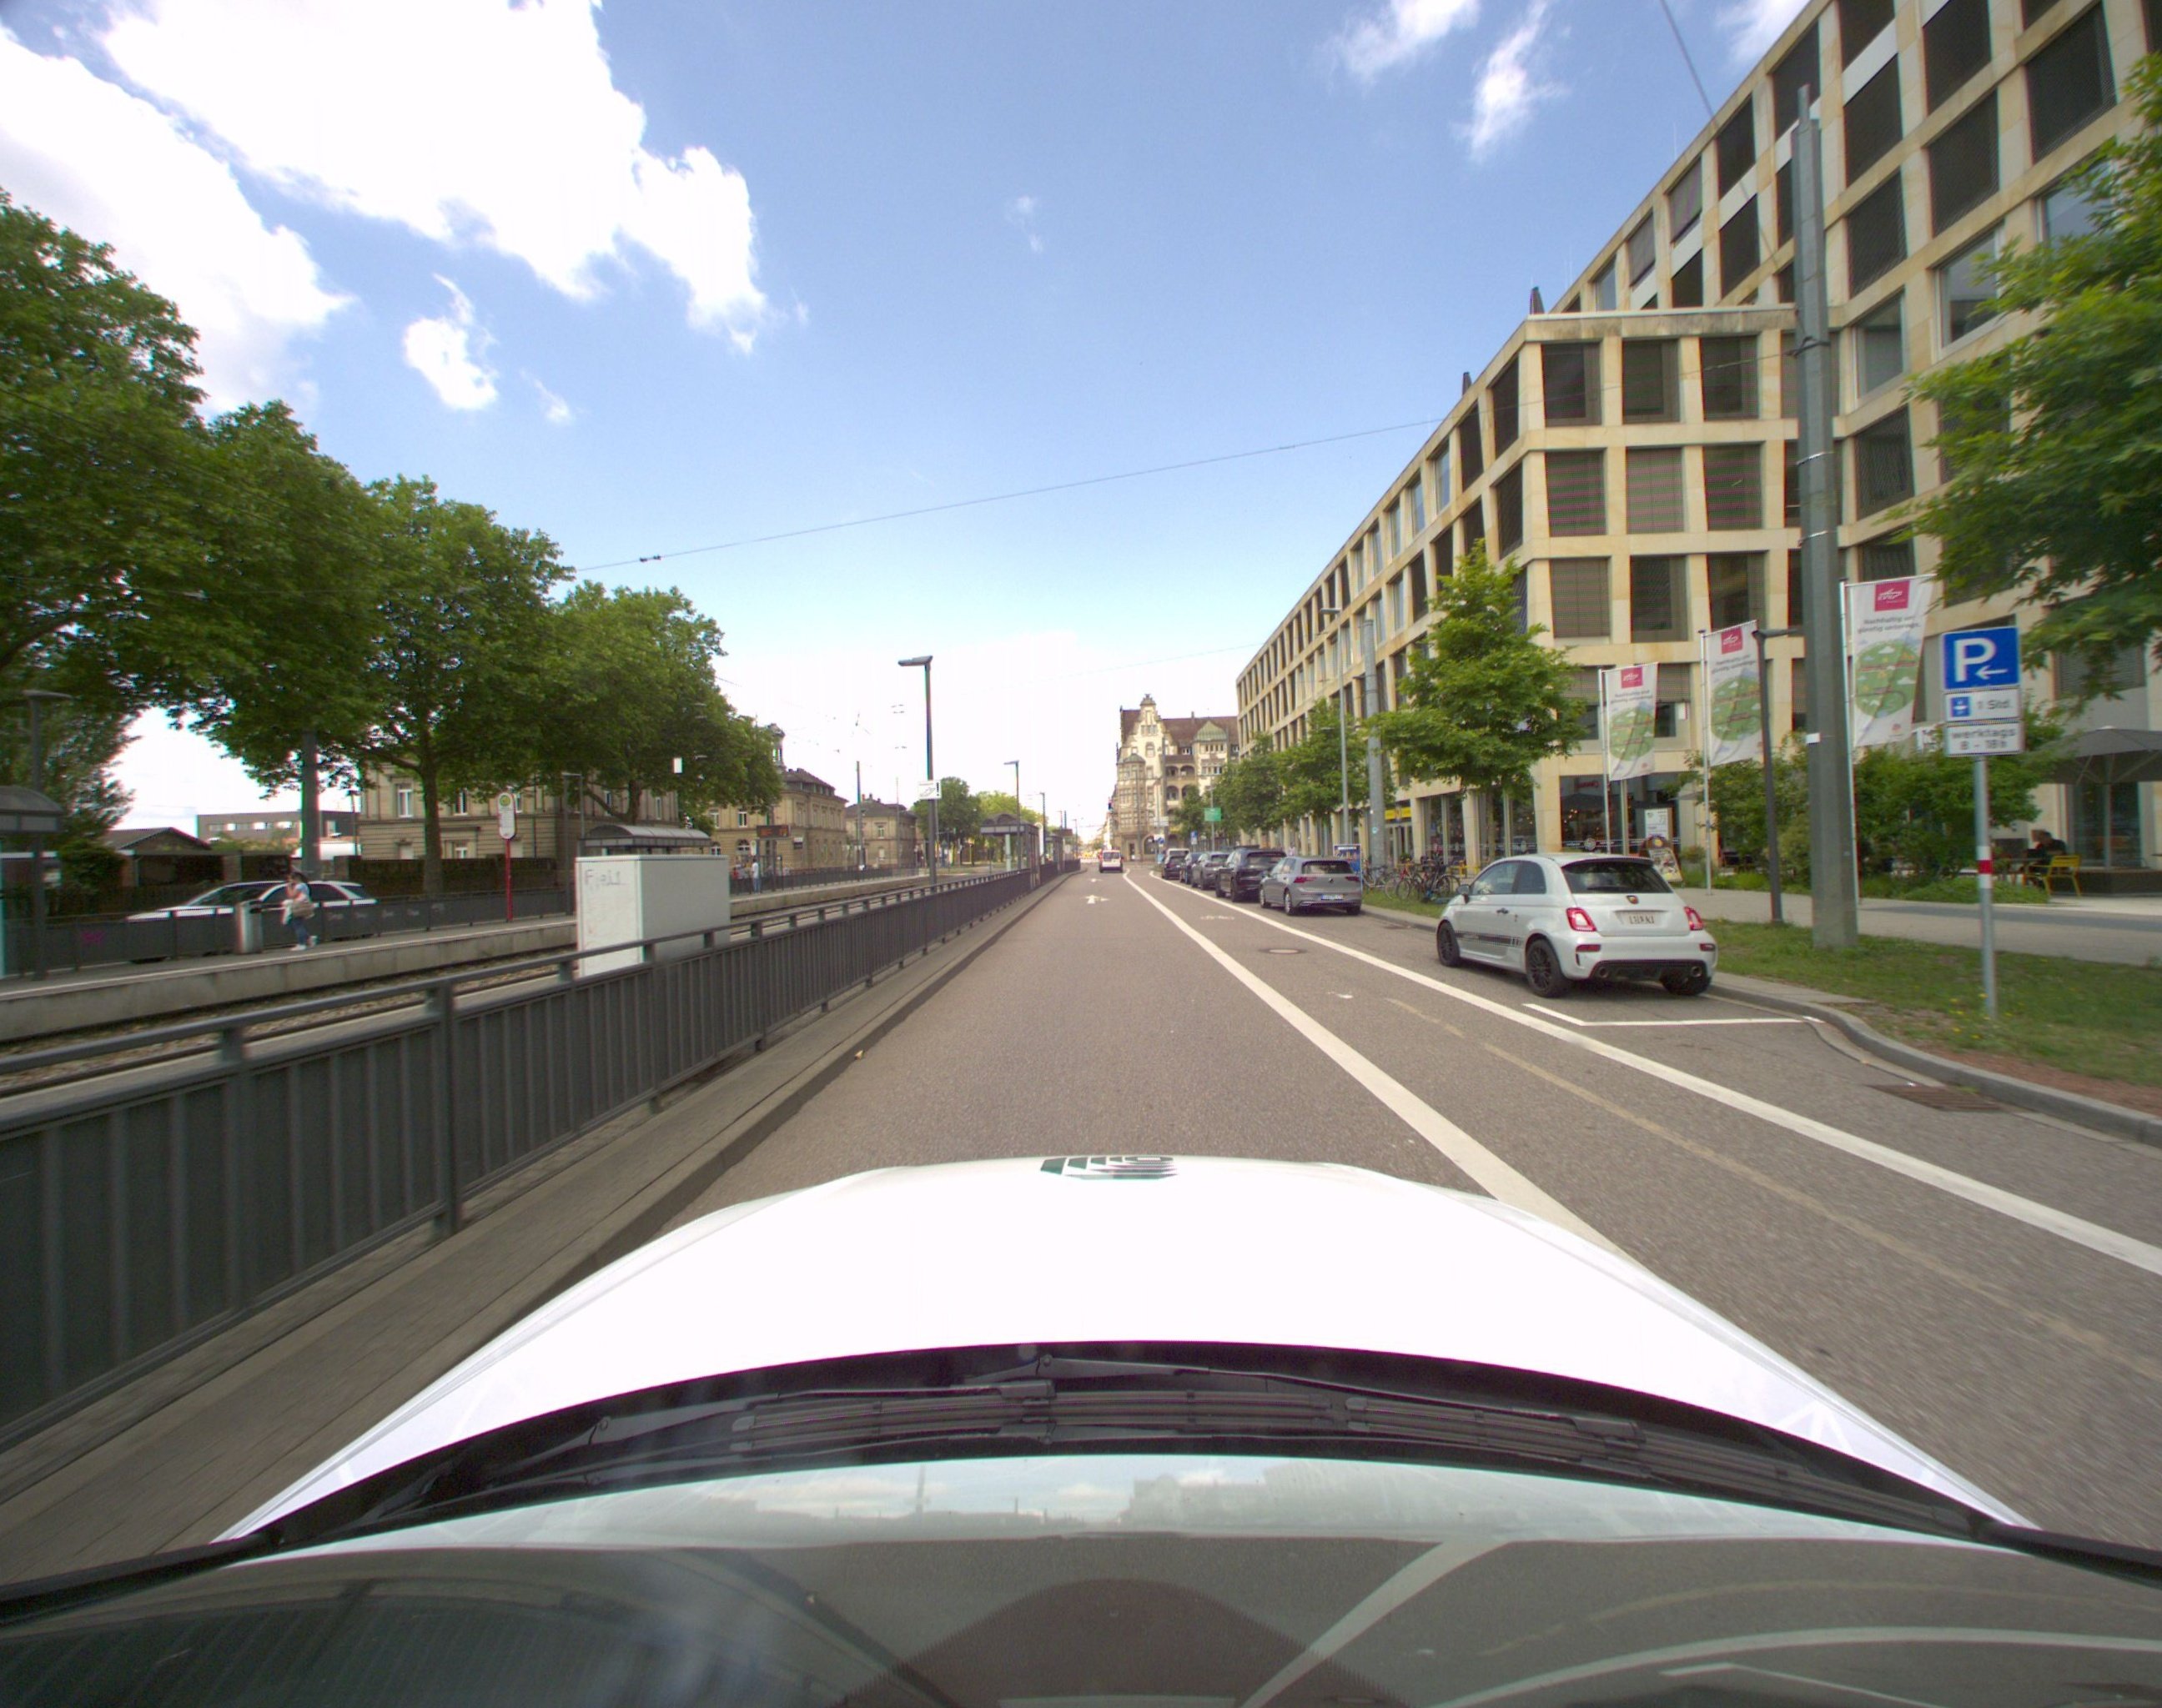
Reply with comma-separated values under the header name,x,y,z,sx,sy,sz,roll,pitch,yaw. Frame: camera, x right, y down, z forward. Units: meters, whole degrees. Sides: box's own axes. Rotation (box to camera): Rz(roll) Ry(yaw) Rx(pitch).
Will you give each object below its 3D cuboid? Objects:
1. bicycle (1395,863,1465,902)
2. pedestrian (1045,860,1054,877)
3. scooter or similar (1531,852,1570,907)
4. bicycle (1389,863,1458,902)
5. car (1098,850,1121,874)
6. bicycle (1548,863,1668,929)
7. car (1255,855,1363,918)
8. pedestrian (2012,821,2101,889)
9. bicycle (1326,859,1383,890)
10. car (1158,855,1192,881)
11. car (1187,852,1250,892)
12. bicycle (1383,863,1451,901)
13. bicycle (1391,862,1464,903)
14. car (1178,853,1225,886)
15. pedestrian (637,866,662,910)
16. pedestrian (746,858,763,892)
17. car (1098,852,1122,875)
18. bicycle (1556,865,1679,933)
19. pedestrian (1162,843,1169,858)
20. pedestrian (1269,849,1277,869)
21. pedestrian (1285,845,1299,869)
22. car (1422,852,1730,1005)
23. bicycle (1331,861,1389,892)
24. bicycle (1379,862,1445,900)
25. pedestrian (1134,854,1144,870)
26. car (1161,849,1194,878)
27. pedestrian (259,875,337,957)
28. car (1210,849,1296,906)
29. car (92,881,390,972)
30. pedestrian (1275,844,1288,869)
name,x,y,z,sx,sy,sz,roll,pitch,yaw
bicycle,9.590,0.785,22.386,1.747,0.986,0.326,-3,-1,0
pedestrian,-2.174,1.011,55.638,0.511,1.140,0.501,-4,-1,1
scooter or similar,10.718,0.576,18.608,0.257,1.215,1.015,-2,0,1
bicycle,9.560,0.788,22.728,1.747,0.986,0.326,-3,-1,0
car,2.503,0.677,72.364,1.862,2.020,4.000,-1,0,1
bicycle,9.231,0.731,14.293,1.815,1.076,0.275,-2,-1,4
car,5.712,0.752,20.866,1.586,1.434,4.106,0,0,-1
pedestrian,20.780,0.022,17.376,0.773,1.362,0.868,-4,-1,1
bicycle,9.750,0.738,29.041,1.815,1.030,0.584,-2,-1,4
car,5.435,0.784,47.470,1.438,1.470,4.091,0,0,-1
car,5.781,0.703,34.774,1.801,1.592,4.839,0,0,-1
bicycle,9.518,0.793,23.089,1.747,0.986,0.326,-3,-1,0
bicycle,9.192,0.744,21.620,1.747,0.986,0.326,-3,-1,0
car,6.045,0.758,41.376,1.801,1.592,4.305,0,0,0
pedestrian,-15.610,1.233,29.441,0.498,1.558,0.643,-2,0,1
pedestrian,-16.205,1.027,40.454,0.498,1.683,0.643,-2,0,1
car,2.320,0.734,65.984,1.862,1.746,4.000,-1,0,1
bicycle,9.200,0.769,13.988,1.815,1.076,0.275,-2,-1,4
pedestrian,8.806,-0.364,84.823,0.532,1.572,0.542,-4,-1,-1
pedestrian,13.625,0.357,57.700,0.437,1.448,0.434,-2,0,0
pedestrian,14.995,0.202,57.787,0.757,1.670,0.659,-2,0,0
car,5.561,0.720,9.711,1.585,1.460,3.615,-1,0,2
bicycle,9.673,0.777,28.245,1.815,1.030,0.433,-2,-1,4
bicycle,9.521,0.780,23.437,1.747,0.986,0.326,-3,-1,0
pedestrian,5.901,0.772,83.114,0.805,1.572,0.627,-4,-1,-8
car,6.201,0.595,52.471,1.704,1.796,3.360,0,0,-1
pedestrian,-15.360,1.199,15.996,0.700,1.512,0.802,-3,0,-3
car,5.454,0.690,26.482,1.733,1.669,4.839,0,0,-1
car,-19.547,1.586,19.372,1.987,1.705,4.821,-2,-1,1
pedestrian,14.231,0.201,57.784,0.757,1.723,0.659,-2,0,0
